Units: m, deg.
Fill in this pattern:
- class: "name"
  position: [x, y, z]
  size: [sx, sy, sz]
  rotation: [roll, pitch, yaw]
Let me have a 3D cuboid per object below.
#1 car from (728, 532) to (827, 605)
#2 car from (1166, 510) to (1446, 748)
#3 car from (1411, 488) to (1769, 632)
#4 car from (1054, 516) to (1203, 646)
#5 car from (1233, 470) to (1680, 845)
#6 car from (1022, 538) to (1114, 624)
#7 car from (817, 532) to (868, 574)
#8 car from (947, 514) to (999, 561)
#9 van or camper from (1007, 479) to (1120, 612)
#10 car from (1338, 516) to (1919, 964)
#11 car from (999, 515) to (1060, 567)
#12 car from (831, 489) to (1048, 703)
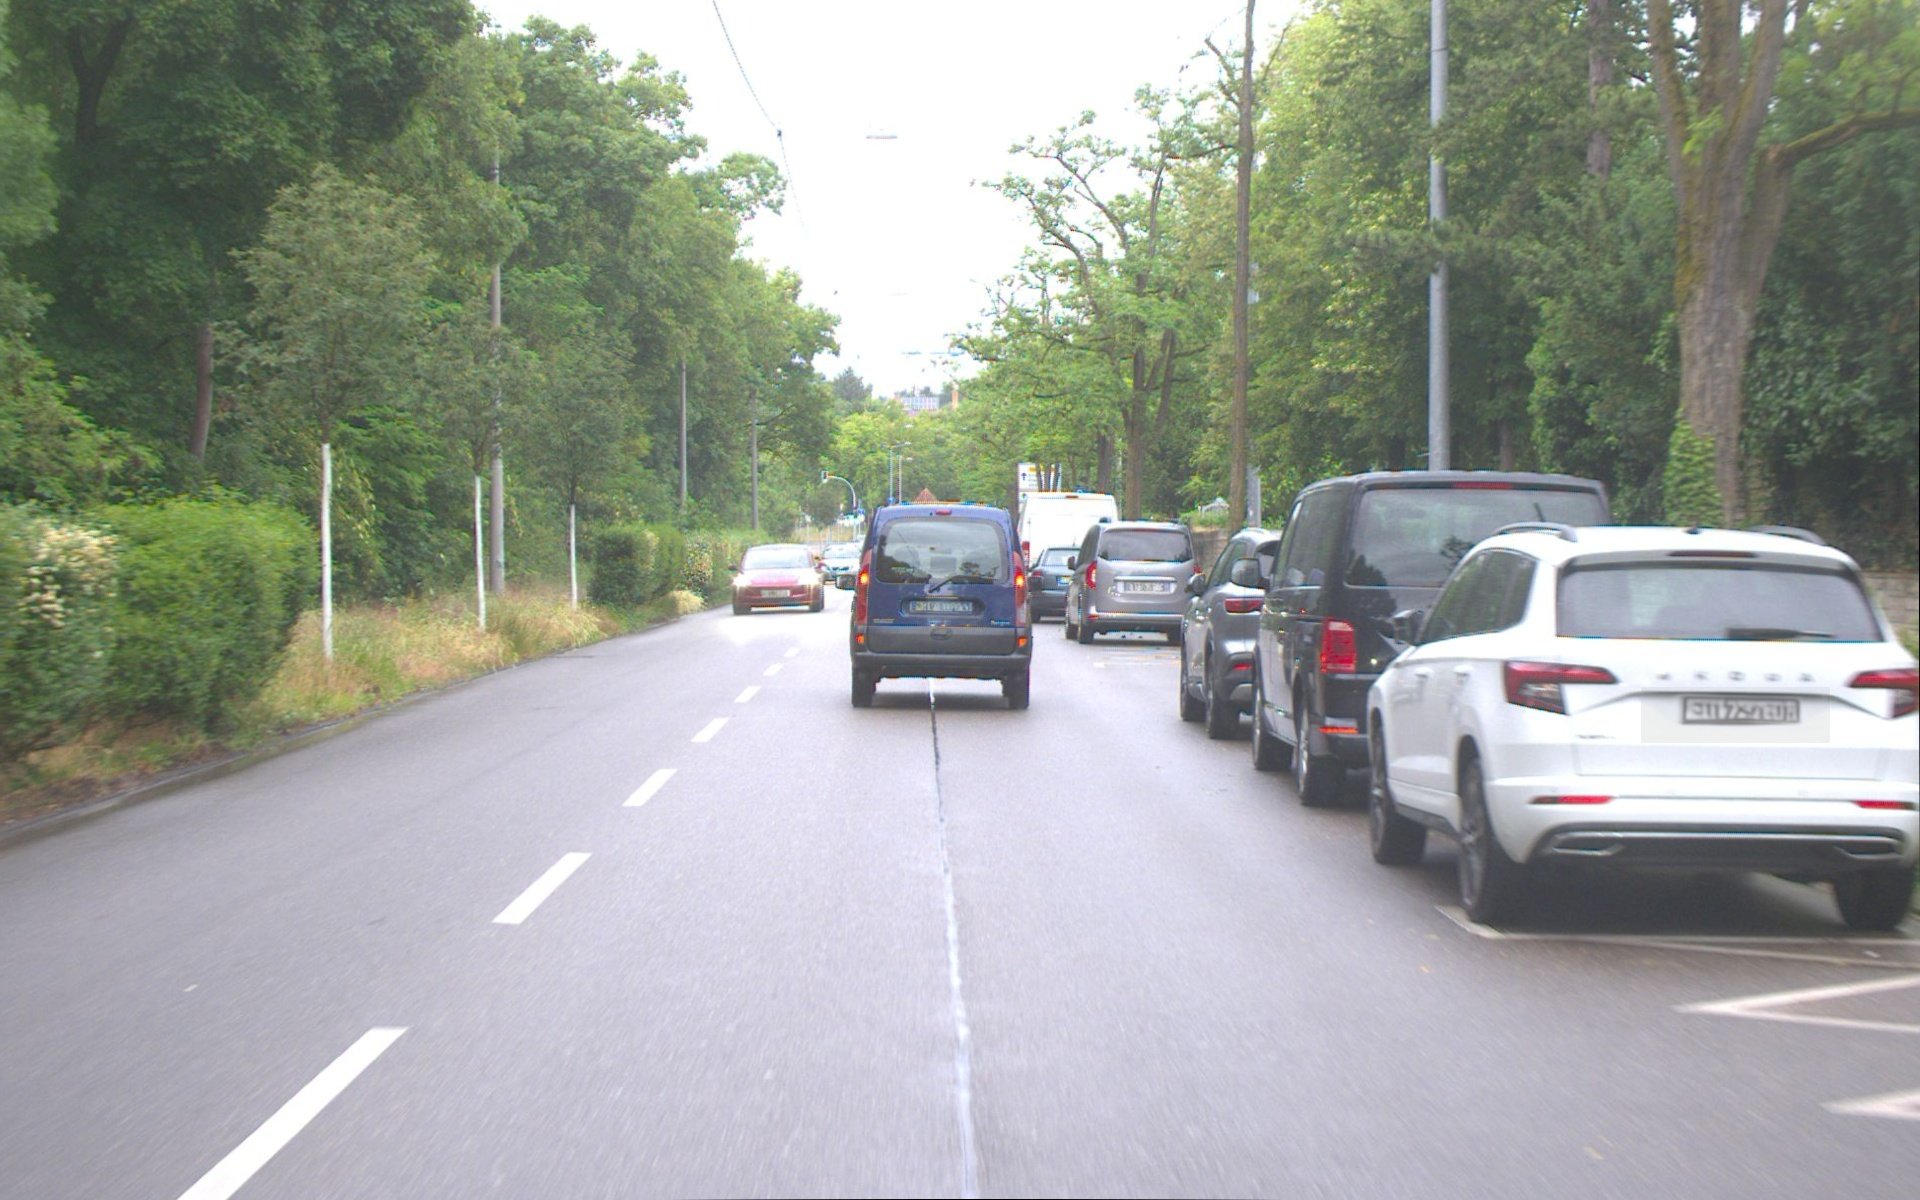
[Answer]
- class: "car"
  position: [-3.844, -0.684, 72.886]
  size: [1.860, 1.475, 4.156]
  rotation: [-1, 1, 0]
- class: "car"
  position: [2.717, 0.163, 27.883]
  size: [1.773, 1.717, 4.327]
  rotation: [2, 2, 0]
- class: "car"
  position: [8.283, -0.525, 45.477]
  size: [4.309, 1.676, 2.000]
  rotation: [-2, 0, 0]
- class: "car"
  position: [2.488, -0.324, 51.626]
  size: [1.814, 1.807, 4.283]
  rotation: [1, 2, -2]
- class: "car"
  position: [2.914, 0.242, 21.289]
  size: [1.993, 2.006, 4.888]
  rotation: [2, 2, 0]
- class: "car"
  position: [2.034, -0.380, 64.209]
  size: [1.626, 1.459, 3.807]
  rotation: [2, 2, 2]
- class: "car"
  position: [-4.274, -1.724, 125.910]
  size: [1.783, 1.474, 3.968]
  rotation: [0, 0, -1]
- class: "car"
  position: [0.427, -2.168, 118.688]
  size: [1.618, 1.503, 3.835]
  rotation: [1, 2, -2]
- class: "van or camper"
  position: [2.130, -1.189, 72.179]
  size: [2.078, 2.641, 5.346]
  rotation: [1, 2, -1]
- class: "car"
  position: [2.846, 0.474, 14.989]
  size: [1.804, 1.607, 4.287]
  rotation: [1, 2, -1]
- class: "car"
  position: [2.108, -1.822, 105.123]
  size: [1.721, 1.500, 4.050]
  rotation: [2, 2, 0]
- class: "car"
  position: [-0.244, -0.092, 31.780]
  size: [1.766, 1.824, 3.543]
  rotation: [1, 2, -3]
